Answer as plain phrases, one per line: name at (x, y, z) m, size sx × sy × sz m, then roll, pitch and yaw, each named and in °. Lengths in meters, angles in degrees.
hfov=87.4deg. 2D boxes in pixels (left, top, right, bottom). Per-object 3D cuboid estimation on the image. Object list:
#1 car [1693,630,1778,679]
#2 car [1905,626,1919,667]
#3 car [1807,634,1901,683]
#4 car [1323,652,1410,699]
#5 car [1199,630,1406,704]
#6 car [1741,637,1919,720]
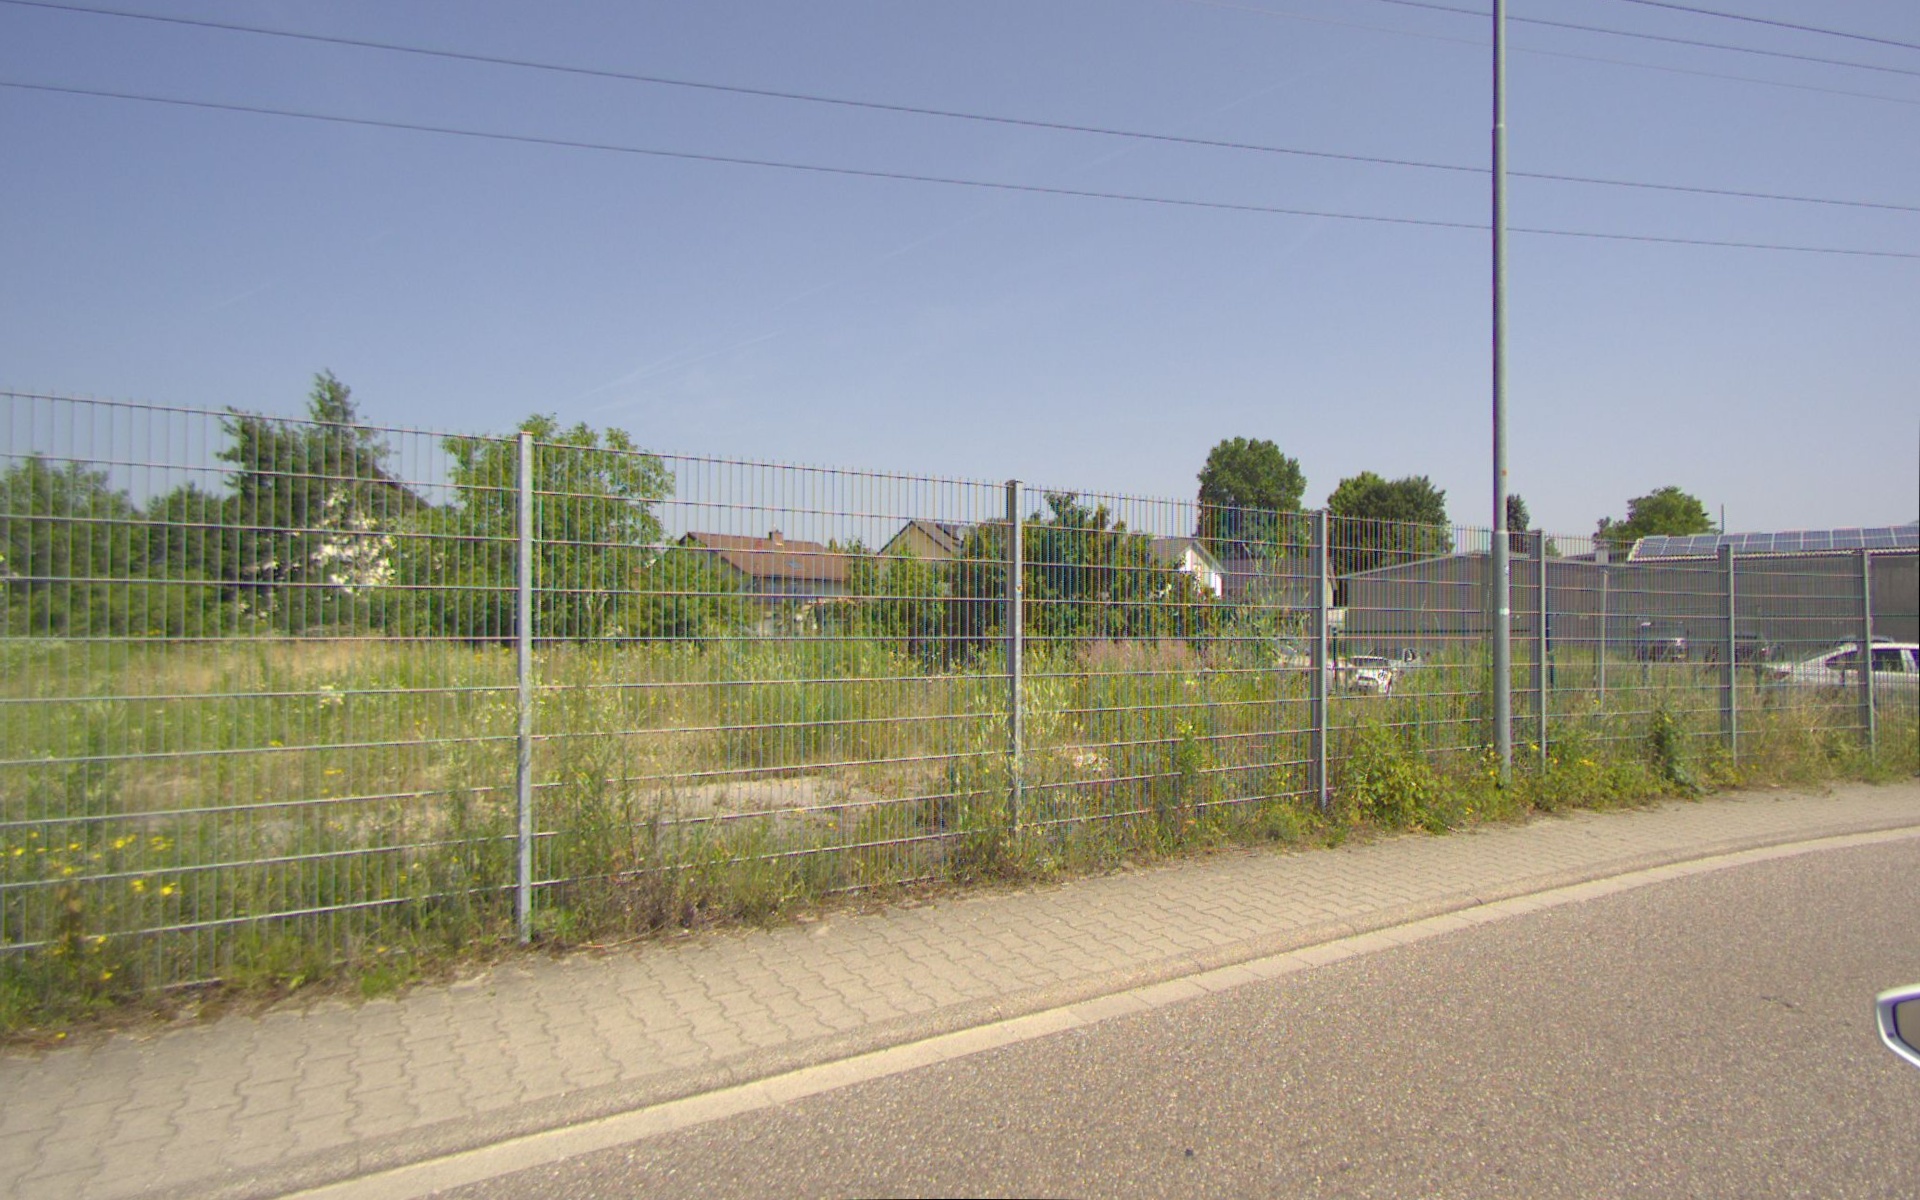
car at (24.850, 1.709, 32.294) m, size 1.836 × 1.433 × 3.432 m, roll 0°, pitch -1°, yaw 32°
car at (35.959, 1.677, 36.653) m, size 1.840 × 1.452 × 4.583 m, roll 0°, pitch -1°, yaw 39°
car at (26.557, 1.694, 29.932) m, size 1.839 × 1.315 × 3.427 m, roll 0°, pitch -1°, yaw 38°
car at (13.319, 2.420, 32.859) m, size 1.634 × 1.332 × 3.374 m, roll 0°, pitch -1°, yaw 41°
car at (8.328, 1.556, 24.603) m, size 4.372 × 1.583 × 2.032 m, roll 0°, pitch -1°, yaw 41°
car at (16.581, 1.364, 17.610) m, size 4.495 × 1.324 × 1.859 m, roll 0°, pitch -1°, yaw 41°
